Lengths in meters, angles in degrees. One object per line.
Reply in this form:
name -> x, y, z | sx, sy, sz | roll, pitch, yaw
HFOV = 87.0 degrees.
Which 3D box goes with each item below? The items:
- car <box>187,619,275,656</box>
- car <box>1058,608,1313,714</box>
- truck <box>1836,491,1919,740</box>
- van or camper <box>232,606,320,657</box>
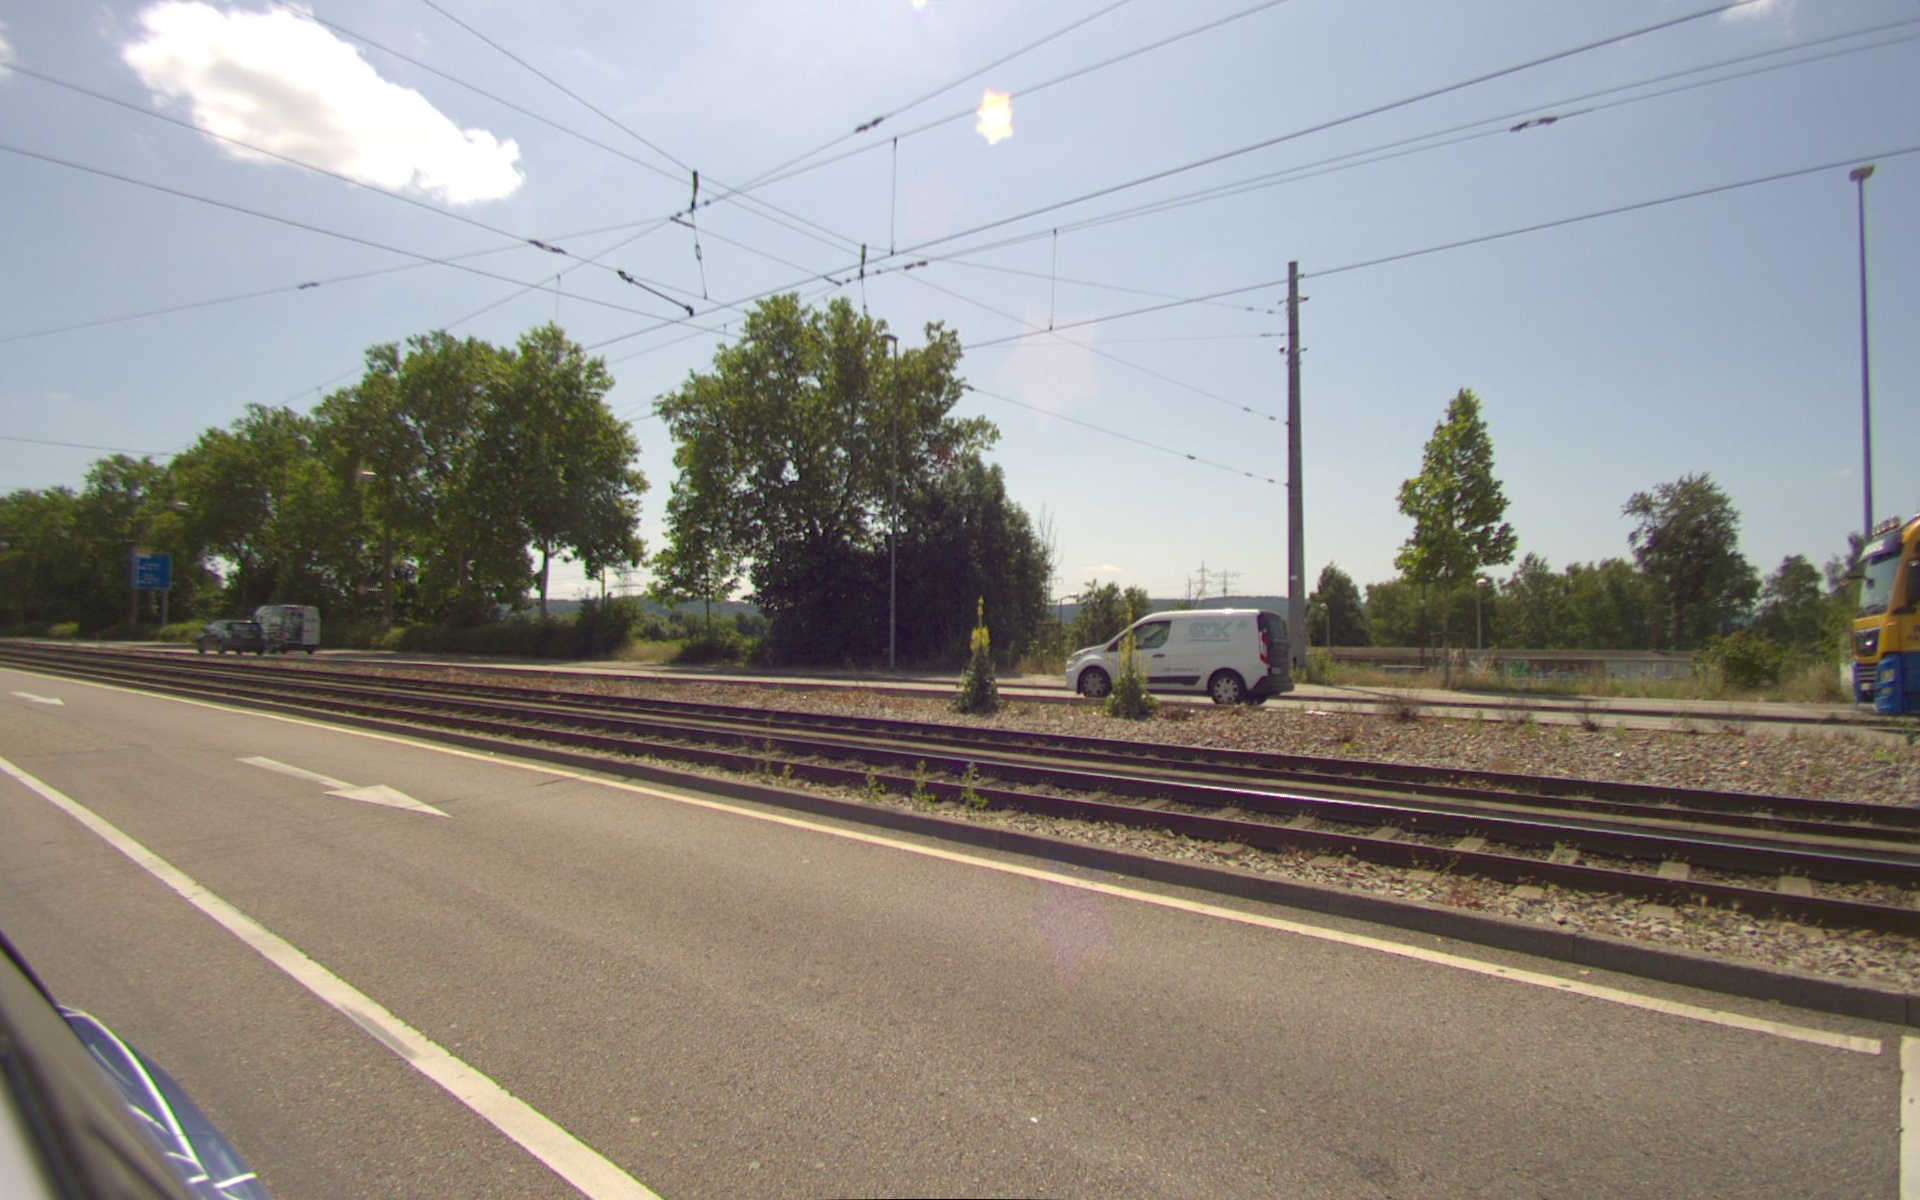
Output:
car -> -34.279, 1.777, 47.578 | 4.255, 1.649, 1.976 | -1, -4, 35
car -> 4.338, 1.135, 19.678 | 4.419, 1.852, 1.978 | -2, -2, 32
truck -> 19.238, 0.207, 16.140 | 7.450, 4.070, 3.102 | -1, -1, 32
van or camper -> -36.815, 1.714, 54.439 | 5.832, 2.606, 1.976 | -1, -3, 36
